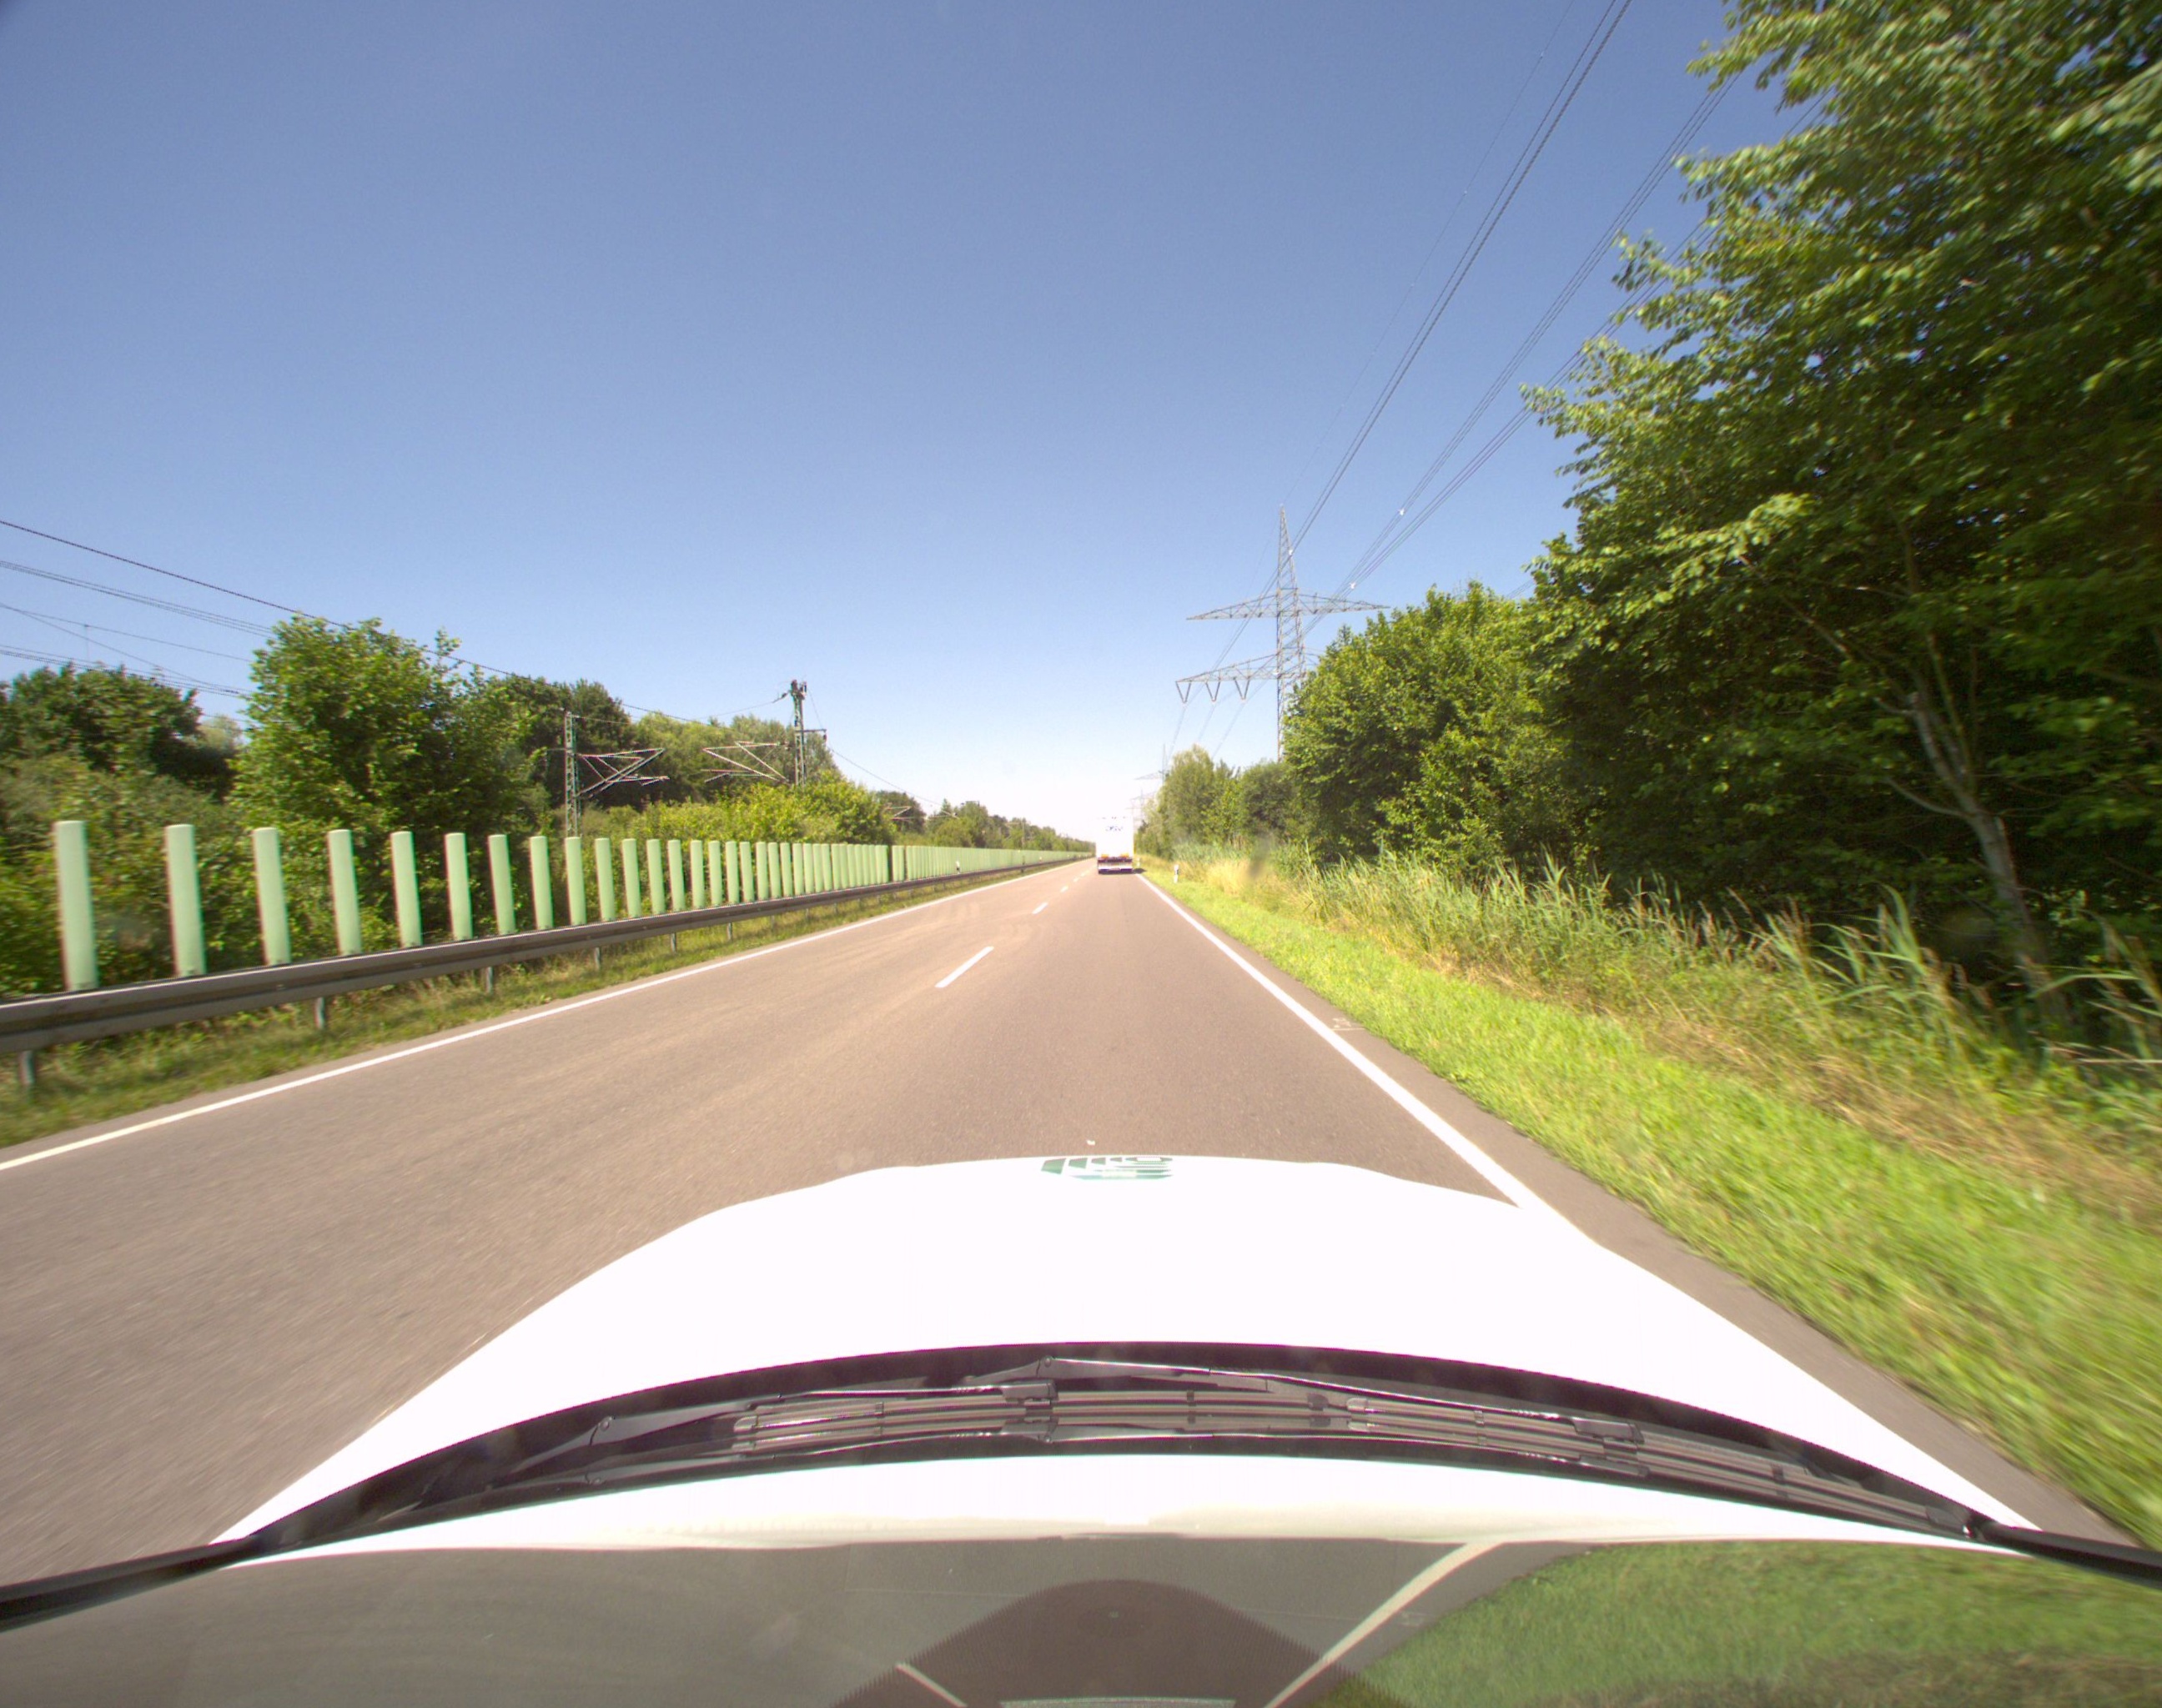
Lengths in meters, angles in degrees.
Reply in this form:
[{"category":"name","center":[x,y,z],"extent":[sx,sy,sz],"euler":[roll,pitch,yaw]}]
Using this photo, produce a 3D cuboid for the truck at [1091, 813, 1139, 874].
[{"category":"truck","center":[2.508,-0.727,61.894],"extent":[3.180,4.042,12.011],"euler":[-2,0,2]}]
